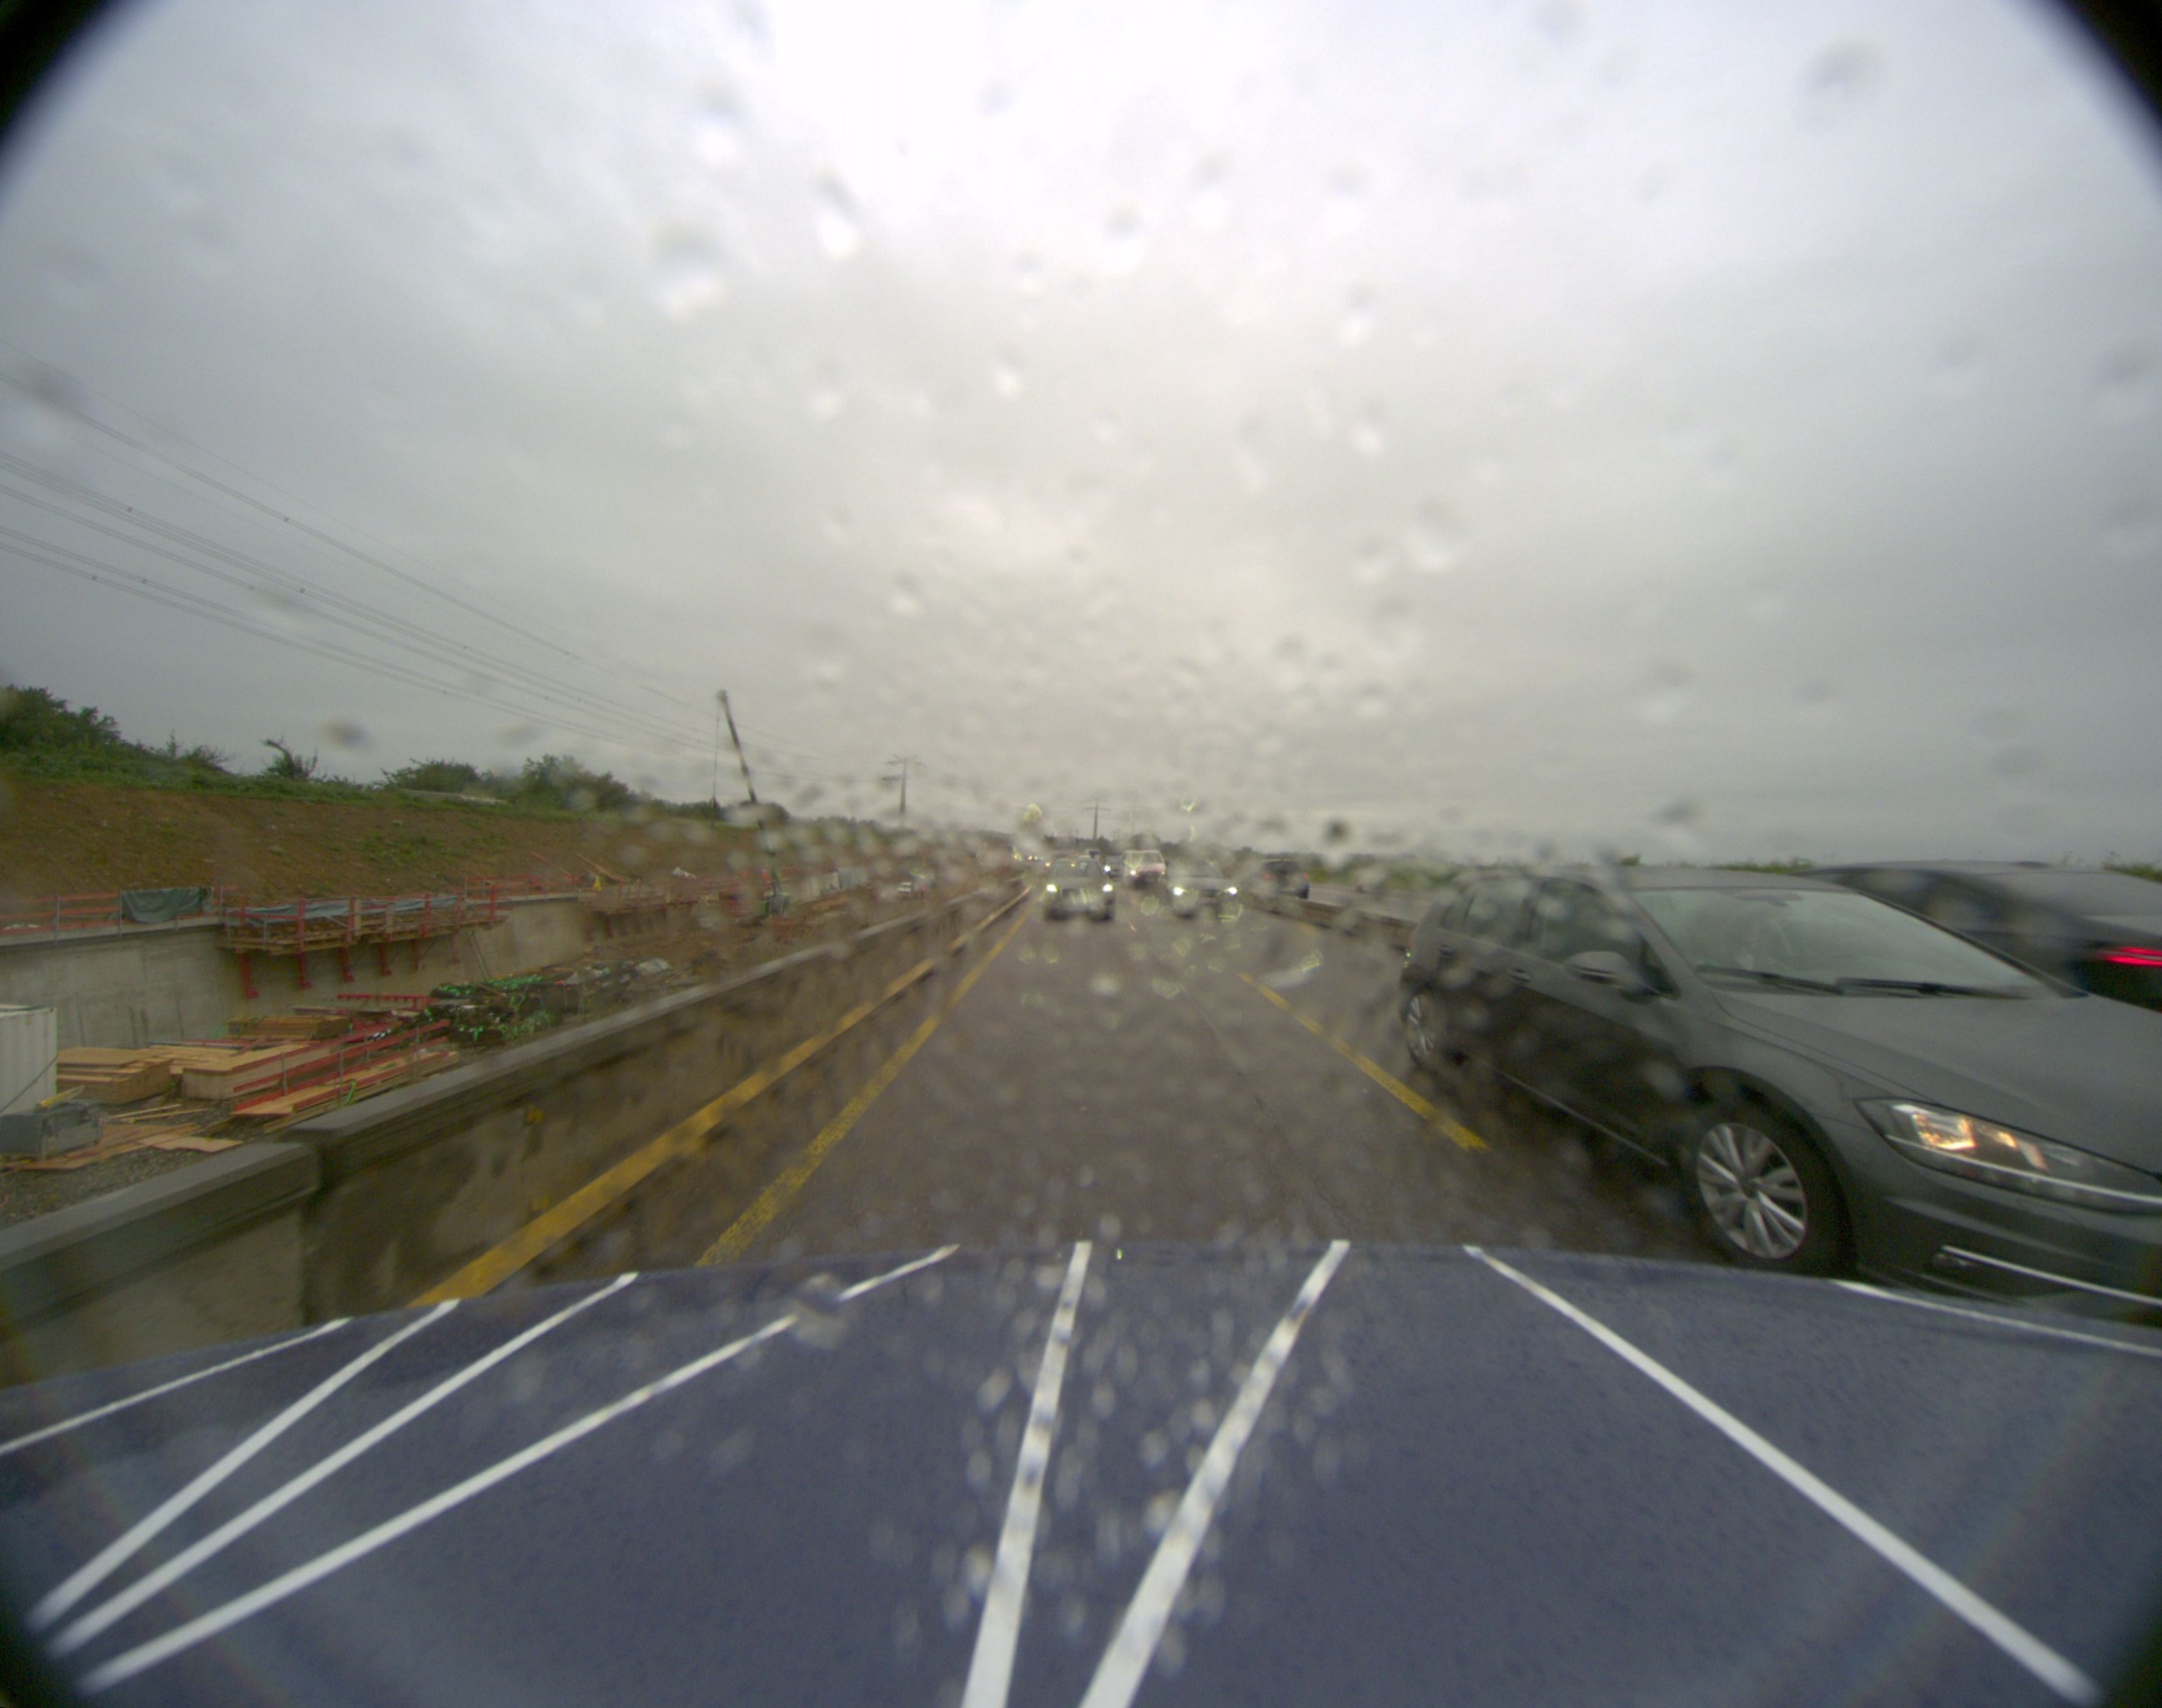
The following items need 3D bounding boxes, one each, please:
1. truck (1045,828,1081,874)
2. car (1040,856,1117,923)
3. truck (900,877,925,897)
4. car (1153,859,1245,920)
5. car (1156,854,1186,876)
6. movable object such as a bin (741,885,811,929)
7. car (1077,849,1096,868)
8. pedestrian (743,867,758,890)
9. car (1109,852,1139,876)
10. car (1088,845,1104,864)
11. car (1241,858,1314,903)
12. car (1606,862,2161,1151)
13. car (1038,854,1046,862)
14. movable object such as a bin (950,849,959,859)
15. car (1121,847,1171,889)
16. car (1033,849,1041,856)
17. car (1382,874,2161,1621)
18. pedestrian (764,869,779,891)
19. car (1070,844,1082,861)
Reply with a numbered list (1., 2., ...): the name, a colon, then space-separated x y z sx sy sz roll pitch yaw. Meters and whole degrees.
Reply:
1. truck: -1.664 -0.323 65.726 2.838 3.617 9.116 -1 1 -3
2. car: 0.008 0.853 20.241 1.799 1.524 4.308 -1 0 2
3. truck: -19.287 3.741 87.031 1.767 1.860 5.784 1 1 -3
4. car: 3.098 0.882 20.756 1.800 1.389 4.268 -1 1 0
5. car: 6.337 0.771 53.811 1.614 1.435 4.461 -1 1 0
6. movable object such as a bin: -24.491 4.212 61.363 3.803 2.790 4.848 0 6 -3
7. car: 0.579 0.471 79.817 1.800 1.851 4.285 -1 1 -1
8. pedestrian: -33.823 2.509 77.796 0.918 2.233 1.005 -5 2 -6
9. car: 2.842 0.640 51.118 1.799 1.521 4.067 -1 1 1
10. car: 2.048 0.066 107.884 2.029 2.534 5.957 0 0 -1
11. car: 6.999 0.898 27.419 1.670 1.457 3.732 -1 0 0
12. car: 7.252 0.914 6.689 1.923 1.576 4.895 -1 0 1
13. car: -9.492 0.869 183.693 1.800 1.851 4.285 -1 1 -3
14. movable object such as a bin: -35.279 -0.050 211.572 2.253 2.704 3.997 -1 1 -6
15. car: 3.135 0.618 37.622 2.160 1.848 5.179 -1 1 2
16. car: -11.938 -0.430 205.047 1.800 1.851 4.286 -1 1 0
17. car: 3.104 0.896 3.660 1.654 1.414 4.079 0 1 -1
18. pedestrian: -32.072 2.675 78.656 0.917 2.219 1.005 -5 2 1
19. car: -0.895 -0.219 138.232 1.999 2.995 5.778 -1 0 -2
